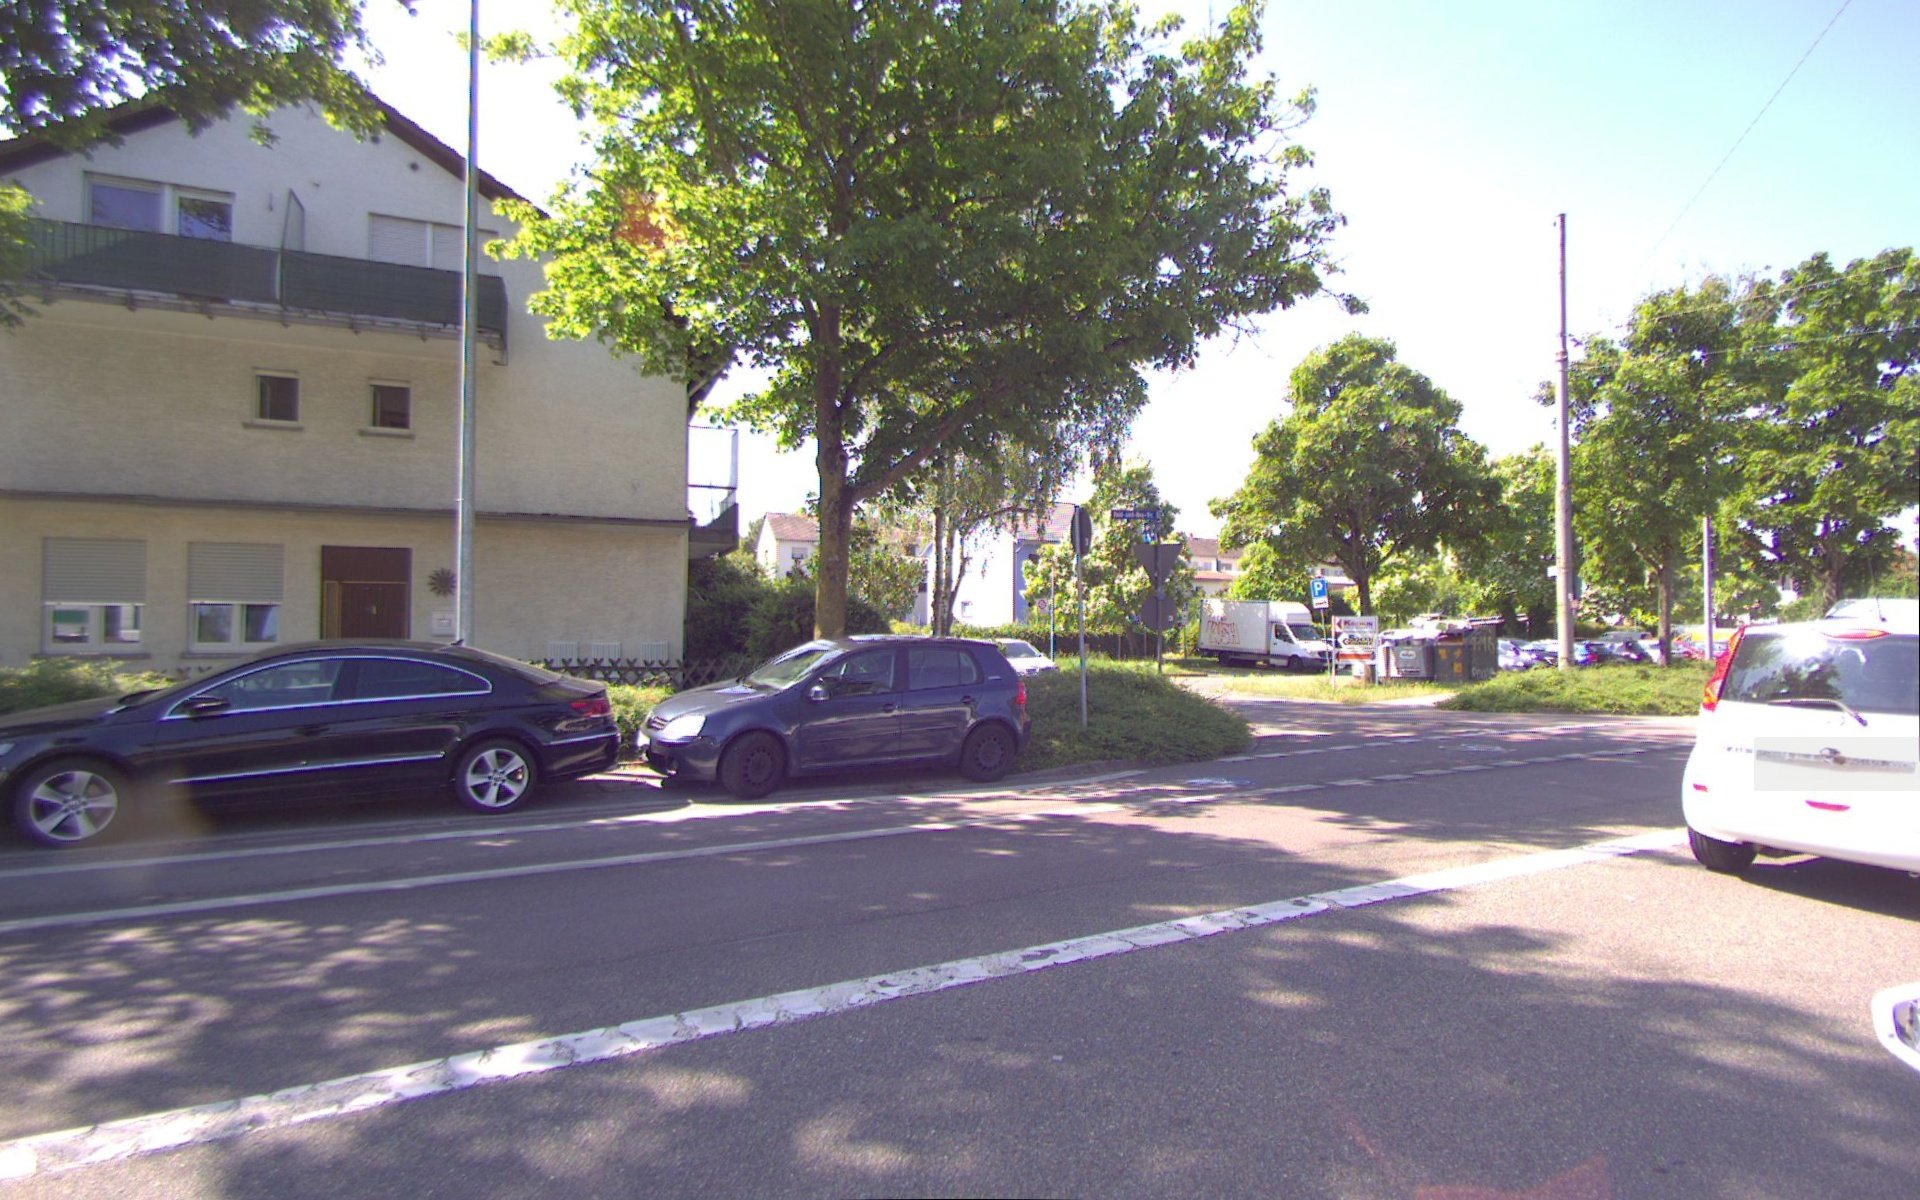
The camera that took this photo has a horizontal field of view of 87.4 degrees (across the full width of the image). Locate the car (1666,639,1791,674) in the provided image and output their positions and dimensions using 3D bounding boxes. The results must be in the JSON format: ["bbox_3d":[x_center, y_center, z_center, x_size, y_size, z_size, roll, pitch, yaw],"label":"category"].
[{"bbox_3d":[33.168,2.449,43.453,1.712,1.434,3.964,2,-4,-33],"label":"car"}]

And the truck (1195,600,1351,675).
[{"bbox_3d":[14.421,1.616,46.837,2.646,3.151,6.967,1,0,-30],"label":"truck"}]

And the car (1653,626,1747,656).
[{"bbox_3d":[50.544,2.777,68.714,2.043,1.811,4.762,2,0,-34],"label":"car"}]

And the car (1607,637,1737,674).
[{"bbox_3d":[28.835,2.246,40.783,1.712,1.434,3.964,2,-4,-33],"label":"car"}]

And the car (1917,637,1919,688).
[{"bbox_3d":[29.403,1.822,28.743,4.230,1.434,1.854,1,0,-31],"label":"car"}]

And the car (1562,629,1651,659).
[{"bbox_3d":[44.522,2.992,69.296,2.043,1.811,4.762,2,0,-34],"label":"car"}]

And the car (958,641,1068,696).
[{"bbox_3d":[1.417,1.927,28.439,1.704,1.434,3.983,1,-3,-20],"label":"car"}]

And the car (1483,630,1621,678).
[{"bbox_3d":[21.419,1.973,36.507,1.712,1.631,3.964,2,-4,-33],"label":"car"}]

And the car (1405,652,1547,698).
[{"bbox_3d":[17.328,2.491,33.899,1.712,1.434,3.964,2,-4,-33],"label":"car"}]

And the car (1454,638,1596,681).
[{"bbox_3d":[19.644,2.075,35.084,1.712,1.434,3.964,2,-4,-33],"label":"car"}]

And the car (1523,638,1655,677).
[{"bbox_3d":[24.176,2.215,38.714,1.712,1.434,3.964,2,-4,-33],"label":"car"}]

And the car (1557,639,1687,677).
[{"bbox_3d":[26.356,2.331,40.095,1.712,1.434,3.964,2,-4,-33],"label":"car"}]

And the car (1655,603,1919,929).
[{"bbox_3d":[6.418,0.846,6.257,4.491,1.568,1.655,1,-1,-29],"label":"car"}]

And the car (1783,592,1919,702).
[{"bbox_3d":[23.799,1.143,25.774,5.745,2.550,2.114,1,0,-29],"label":"car"}]

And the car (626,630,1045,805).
[{"bbox_3d":[-1.267,1.095,10.481,3.988,1.462,1.718,1,0,-28],"label":"car"}]

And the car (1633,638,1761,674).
[{"bbox_3d":[30.776,2.334,42.037,1.712,1.434,3.964,2,-4,-33],"label":"car"}]

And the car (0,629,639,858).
[{"bbox_3d":[-5.220,1.005,8.348,4.568,1.434,1.854,1,0,-31],"label":"car"}]

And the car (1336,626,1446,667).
[{"bbox_3d":[21.683,2.326,50.699,2.043,1.811,4.762,2,0,-34],"label":"car"}]
